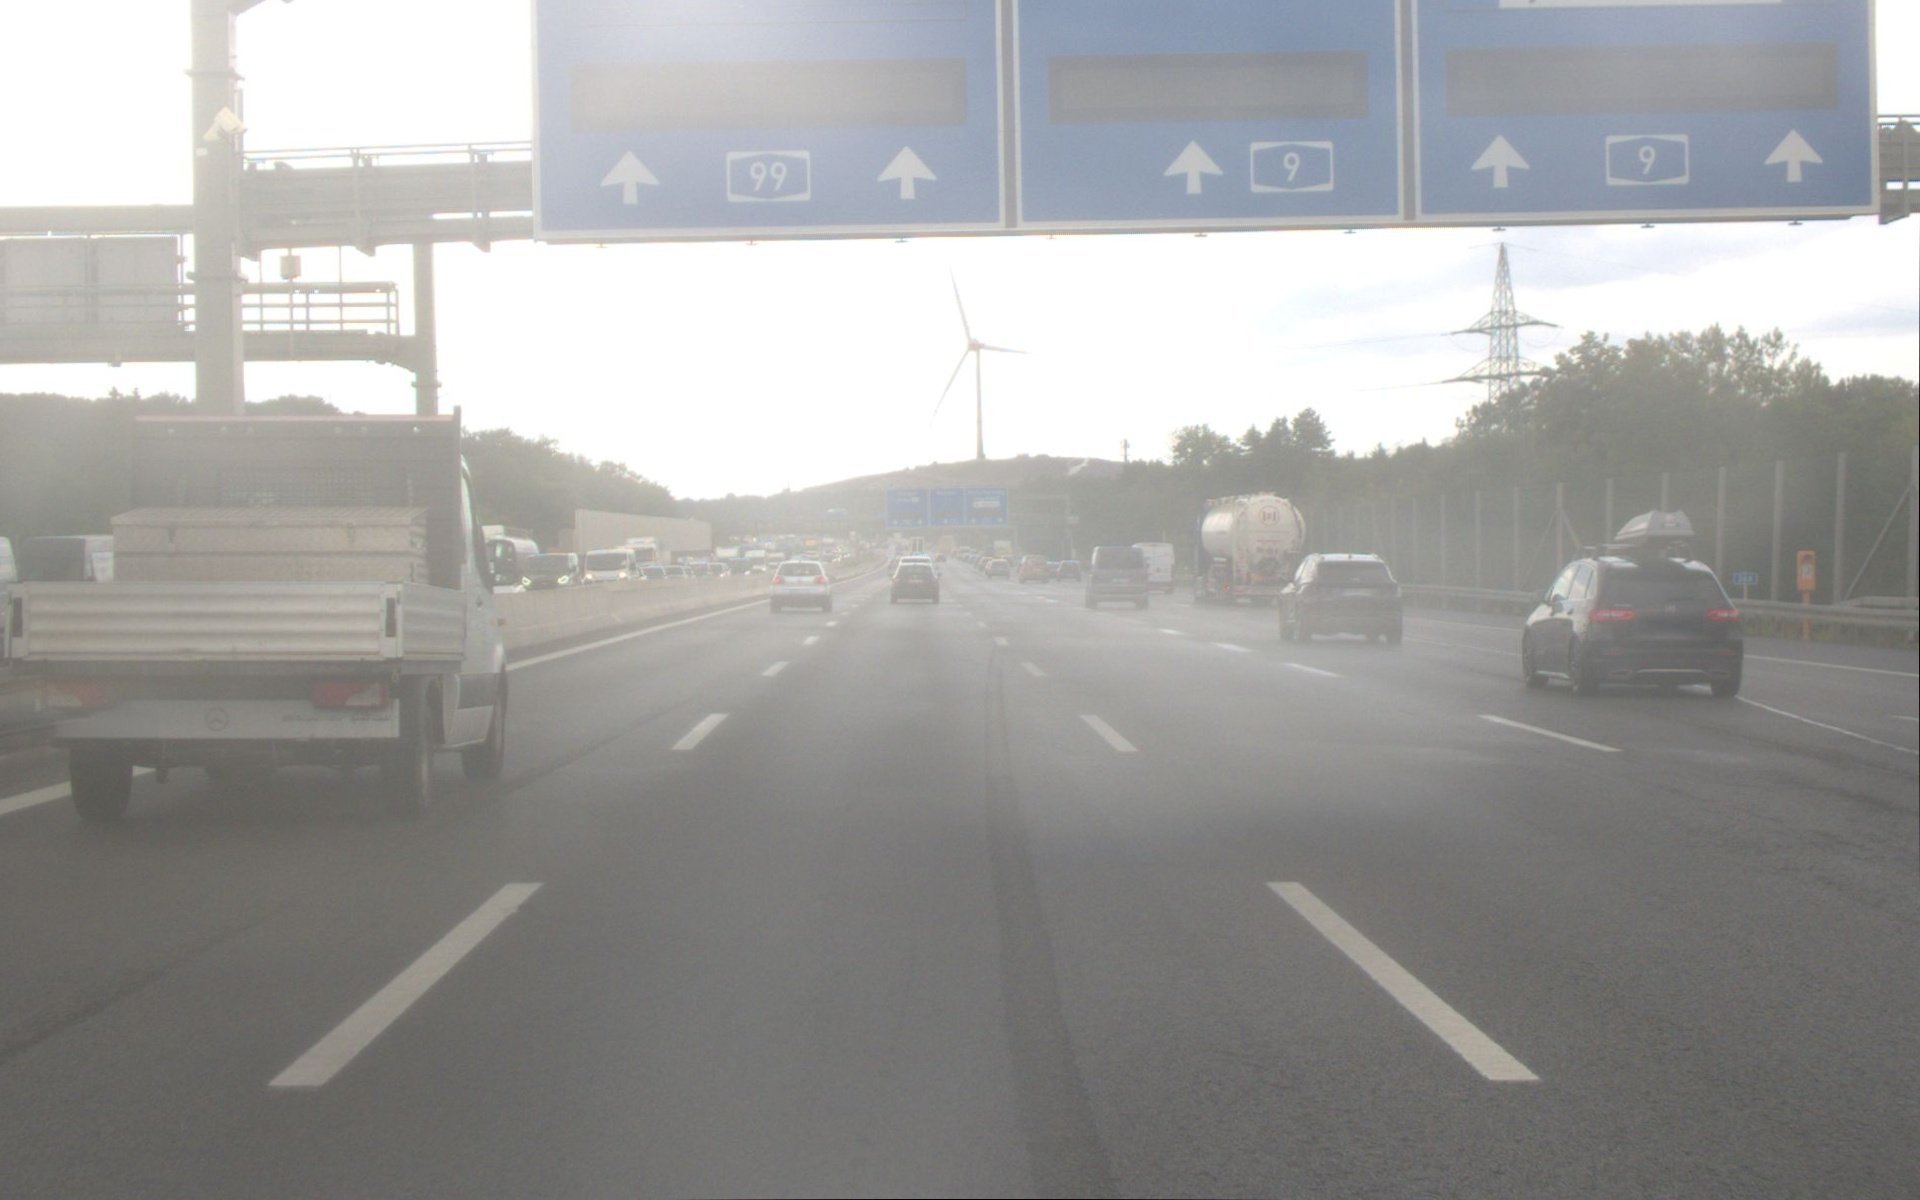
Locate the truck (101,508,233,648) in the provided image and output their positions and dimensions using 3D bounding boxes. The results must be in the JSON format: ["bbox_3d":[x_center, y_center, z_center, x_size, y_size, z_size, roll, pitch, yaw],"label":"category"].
[{"bbox_3d":[-28.472,-0.802,123.795,3.146,4.840,8.028,1,0,-2],"label":"truck"}]

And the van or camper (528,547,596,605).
[{"bbox_3d":[-15.362,-0.935,132.767,2.095,2.178,4.971,1,0,-1],"label":"van or camper"}]

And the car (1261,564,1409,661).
[{"bbox_3d":[6.848,0.194,63.216,2.045,1.693,5.007,0,1,-1],"label":"car"}]

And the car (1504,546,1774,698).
[{"bbox_3d":[7.595,0.248,38.957,2.105,1.600,5.065,0,0,1],"label":"car"}]

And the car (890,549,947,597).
[{"bbox_3d":[-1.489,-0.970,124.593,2.045,1.693,4.000,0,1,0],"label":"car"}]

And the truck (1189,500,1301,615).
[{"bbox_3d":[10.464,-1.529,126.999,3.333,4.066,8.272,1,0,-1],"label":"truck"}]

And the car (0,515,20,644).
[{"bbox_3d":[-19.491,-0.362,64.453,2.203,2.480,6.066,0,1,-2],"label":"car"}]

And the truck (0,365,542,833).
[{"bbox_3d":[-4.116,-0.041,21.562,2.353,2.400,7.359,1,1,-2],"label":"truck"}]

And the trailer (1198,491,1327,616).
[{"bbox_3d":[10.547,-1.587,121.057,3.332,4.161,11.838,1,0,-1],"label":"trailer"}]

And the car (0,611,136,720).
[{"bbox_3d":[-23.010,1.621,87.925,2.271,2.538,7.359,0,1,-2],"label":"car"}]

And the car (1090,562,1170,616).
[{"bbox_3d":[5.456,-0.355,110.771,2.097,1.693,4.001,0,1,-4],"label":"car"}]

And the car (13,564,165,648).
[{"bbox_3d":[-15.078,0.075,59.724,1.703,1.387,4.506,0,1,-3],"label":"car"}]

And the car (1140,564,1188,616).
[{"bbox_3d":[9.914,-0.513,167.281,2.045,2.489,4.000,0,1,-1],"label":"car"}]

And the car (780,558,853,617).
[{"bbox_3d":[-4.188,-0.382,100.835,2.045,1.693,4.000,0,1,-1],"label":"car"}]
